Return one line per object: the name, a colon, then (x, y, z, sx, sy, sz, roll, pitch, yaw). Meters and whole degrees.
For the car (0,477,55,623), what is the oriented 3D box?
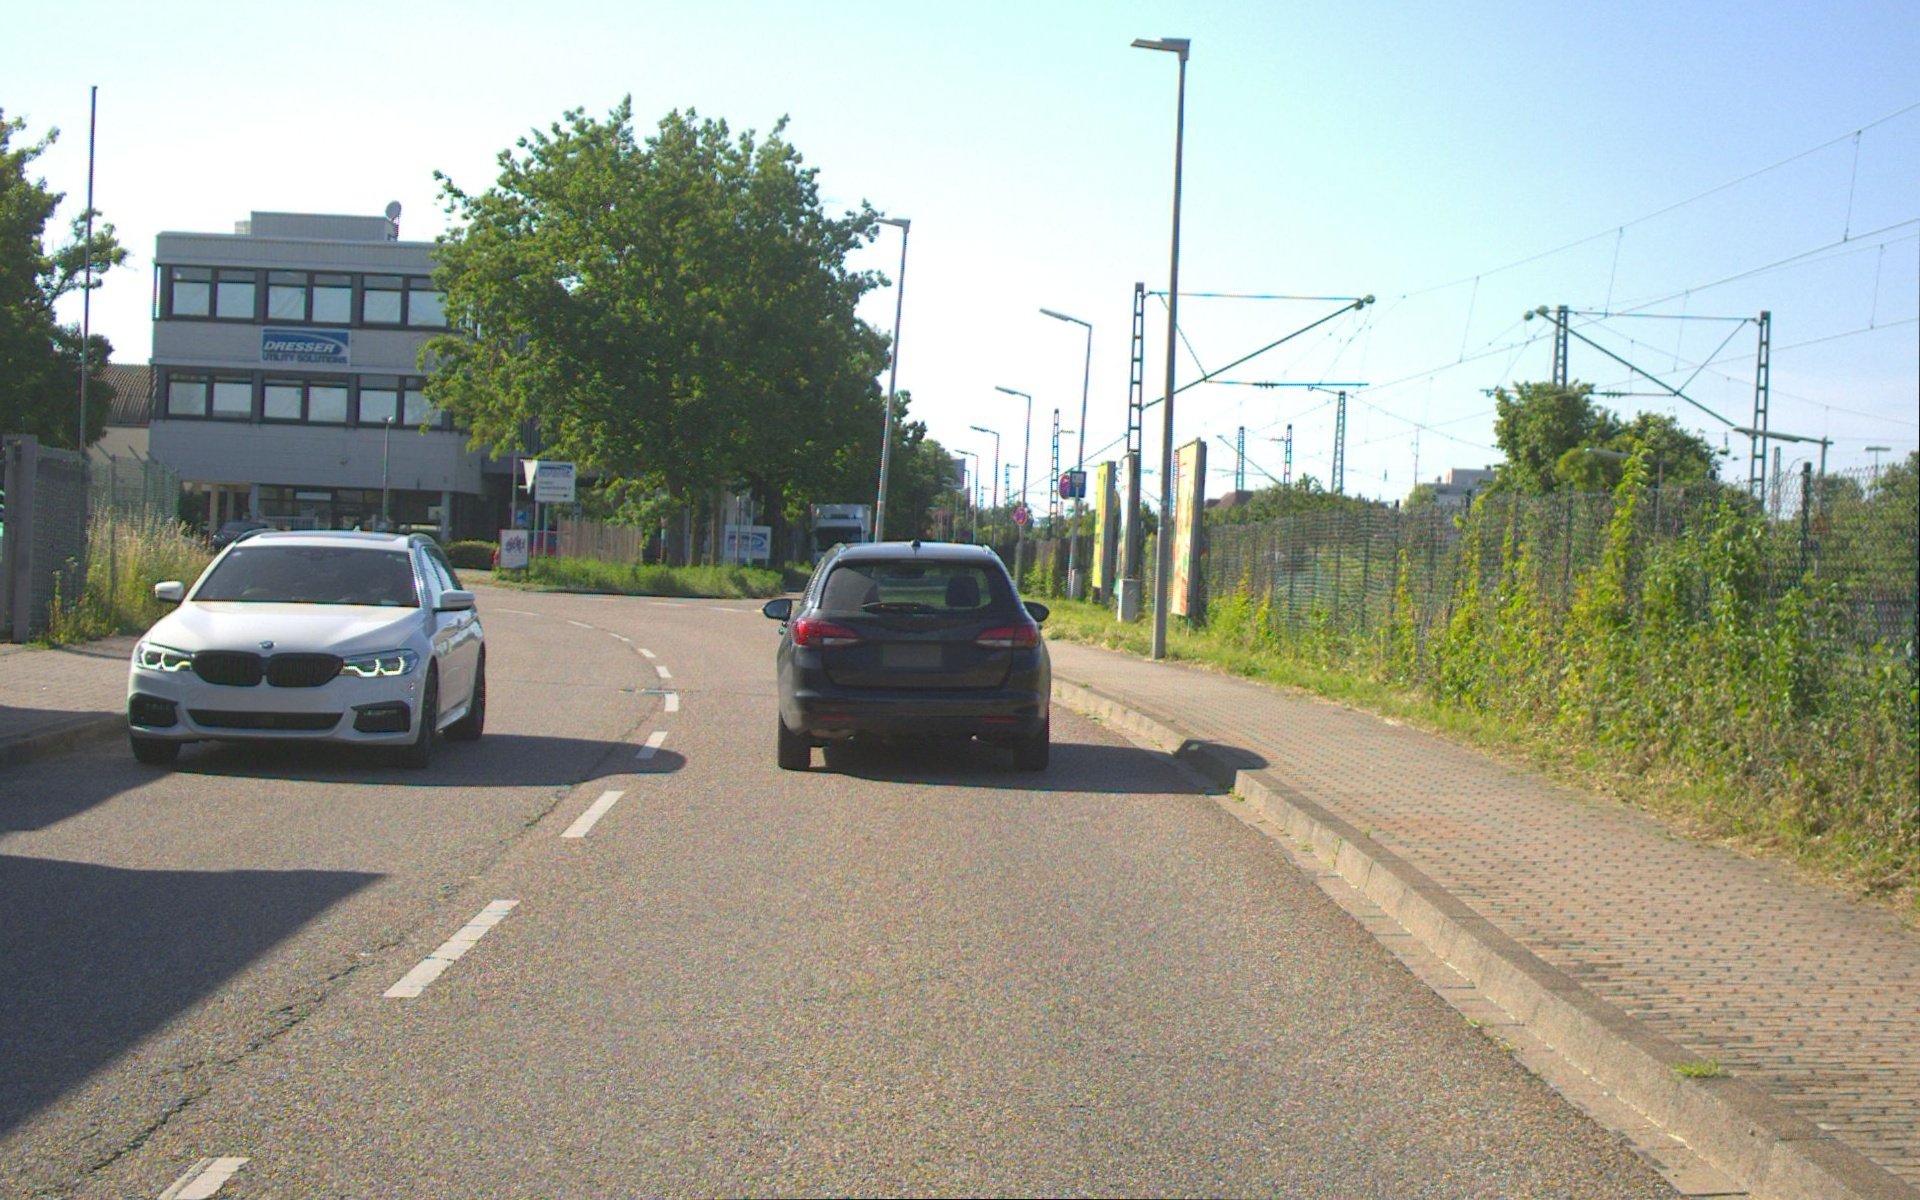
car: (-12.779, -0.659, 39.604, 4.388, 1.643, 1.841, 2, 1, -11)

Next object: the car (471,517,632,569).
car: (-13.427, -1.883, 113.189, 4.911, 1.479, 2.000, 2, 2, 4)

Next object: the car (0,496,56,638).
car: (-12.119, -0.444, 37.130, 4.388, 1.501, 1.841, 2, 1, -11)

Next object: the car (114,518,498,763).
car: (-4.295, 0.196, 23.256, 1.808, 1.473, 4.688, 1, 1, -2)

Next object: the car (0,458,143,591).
car: (-12.993, -1.037, 44.915, 4.388, 1.643, 1.841, 2, 1, -15)

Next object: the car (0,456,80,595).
car: (-13.051, -0.984, 41.947, 4.388, 1.643, 1.841, 2, 1, -13)

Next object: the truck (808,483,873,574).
truck: (-5.520, -3.250, 157.532, 2.613, 3.872, 13.534, 3, 1, -3)

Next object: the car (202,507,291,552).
car: (-25.821, -2.569, 124.579, 1.994, 1.479, 4.927, 2, 2, 2)

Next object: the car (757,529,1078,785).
car: (-0.309, 0.304, 23.370, 1.942, 1.483, 4.566, 1, 2, -1)

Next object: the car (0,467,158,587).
car: (-14.023, -1.092, 49.562, 4.389, 1.643, 1.840, 2, 1, -32)
